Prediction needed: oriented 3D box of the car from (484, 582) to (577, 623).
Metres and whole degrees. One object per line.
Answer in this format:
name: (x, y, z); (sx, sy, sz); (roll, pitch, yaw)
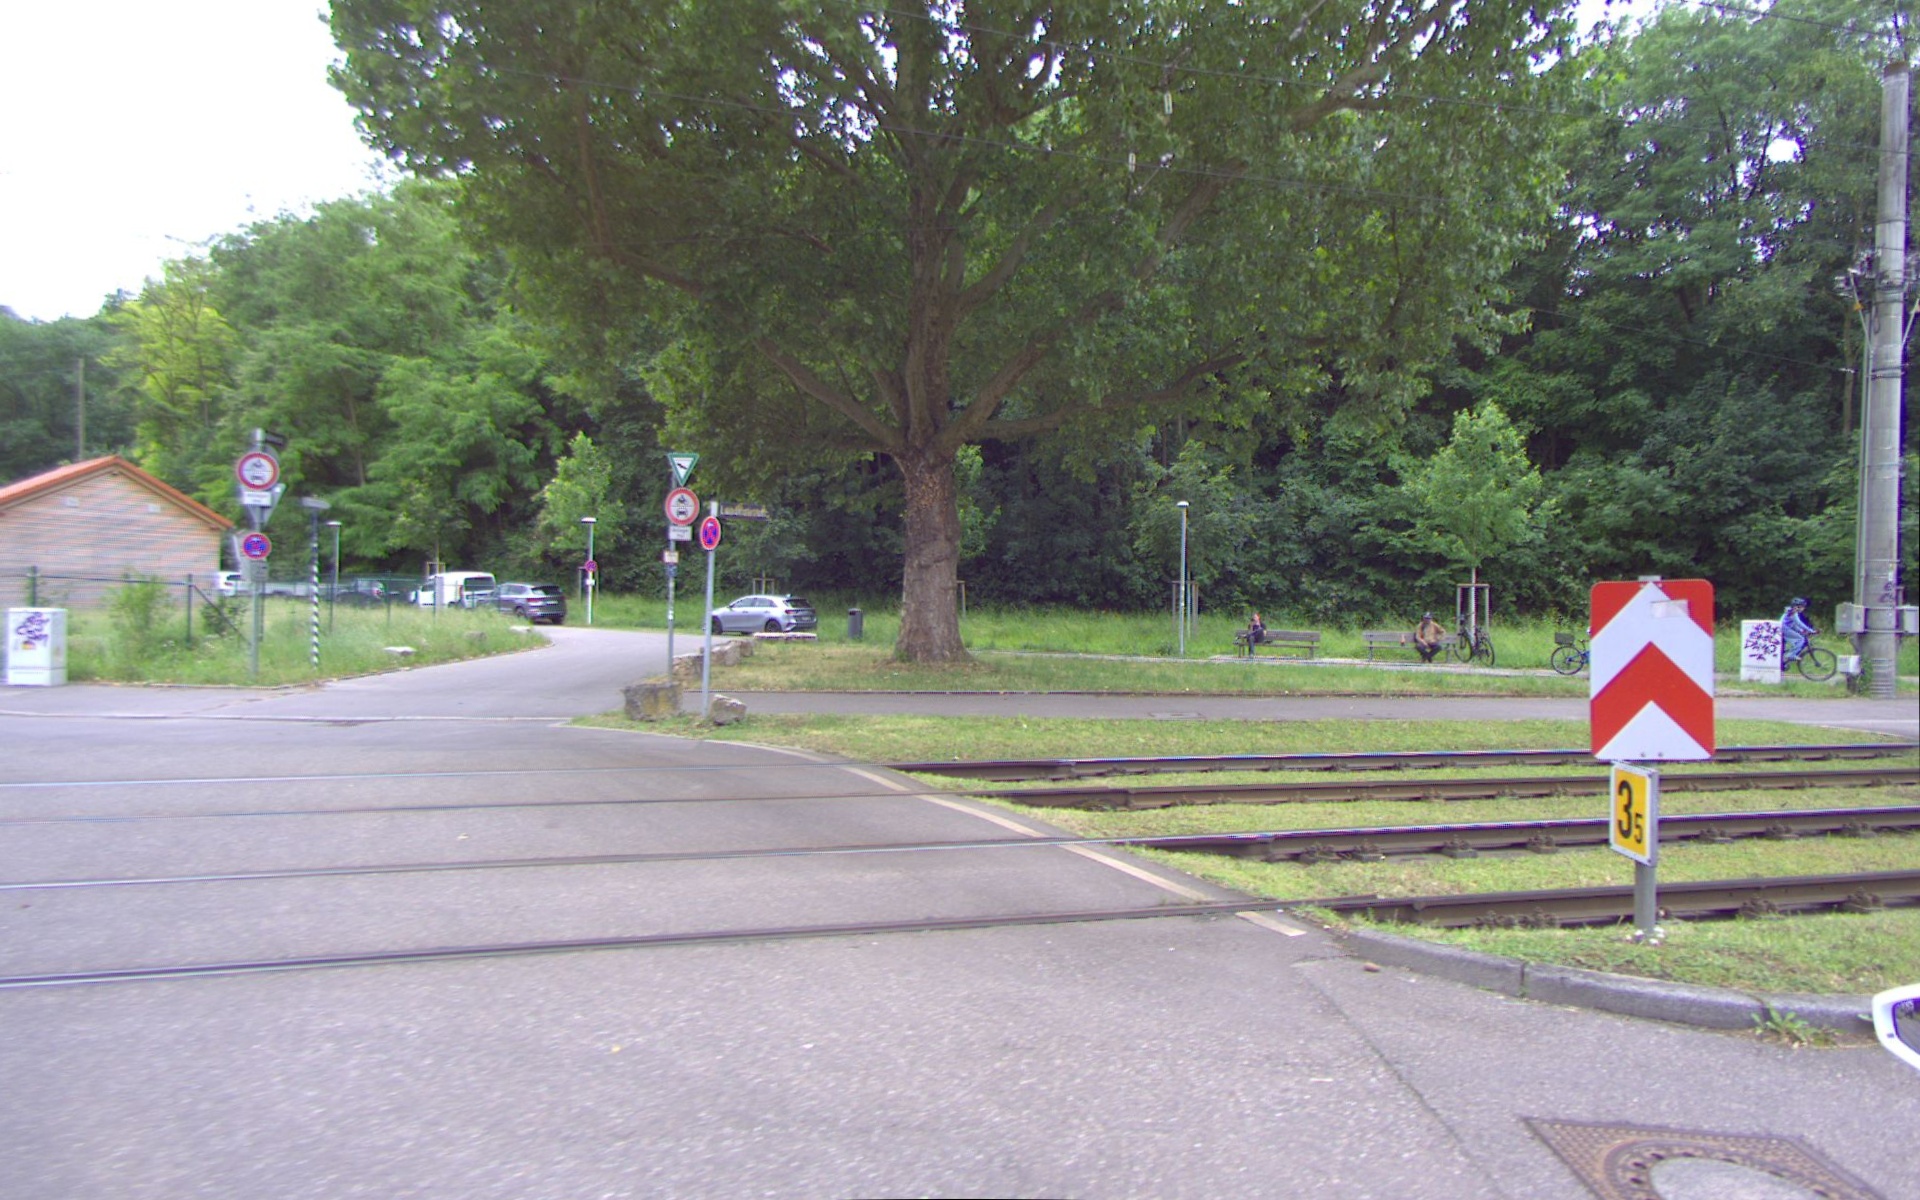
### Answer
car: (-17.081, 0.072, 39.938); (3.441, 1.443, 1.697); (3, 3, 31)

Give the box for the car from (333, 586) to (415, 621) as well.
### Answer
car: (-26.838, 0.124, 45.989); (3.616, 1.396, 1.754); (3, 3, 31)

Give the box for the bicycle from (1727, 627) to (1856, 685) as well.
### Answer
bicycle: (16.570, 1.109, 20.066); (1.909, 1.055, 0.474); (0, 3, 28)

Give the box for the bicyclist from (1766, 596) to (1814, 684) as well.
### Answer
bicyclist: (16.565, 0.786, 20.050); (0.612, 1.697, 0.474); (1, 3, 27)

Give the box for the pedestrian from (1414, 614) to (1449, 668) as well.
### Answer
pedestrian: (11.448, 0.989, 24.407); (0.660, 1.252, 0.580); (2, 3, 17)

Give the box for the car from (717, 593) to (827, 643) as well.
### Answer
car: (-6.434, 0.580, 34.403); (3.441, 1.443, 1.697); (3, 3, 31)

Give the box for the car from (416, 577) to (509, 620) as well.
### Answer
car: (-21.231, -0.105, 42.836); (3.616, 1.635, 1.905); (3, 3, 31)

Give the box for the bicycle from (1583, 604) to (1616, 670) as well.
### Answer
bicycle: (13.430, 0.761, 21.092); (0.506, 1.348, 0.454); (0, 3, 23)

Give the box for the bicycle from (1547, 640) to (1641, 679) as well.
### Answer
bicycle: (13.337, 1.236, 21.164); (1.621, 0.749, 0.454); (0, 3, 23)

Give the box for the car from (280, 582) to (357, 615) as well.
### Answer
car: (-31.141, -0.086, 48.748); (3.616, 1.396, 1.754); (3, 3, 31)

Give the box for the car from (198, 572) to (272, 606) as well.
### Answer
car: (-38.332, -0.617, 53.093); (3.613, 1.635, 1.755); (3, 3, 28)

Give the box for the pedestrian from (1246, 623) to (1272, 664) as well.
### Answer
pedestrian: (7.732, 1.121, 25.978); (0.608, 1.003, 0.532); (2, 3, 19)

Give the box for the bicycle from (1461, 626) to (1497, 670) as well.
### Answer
bicycle: (12.501, 1.136, 24.239); (0.610, 0.897, 1.745); (3, 3, 23)
